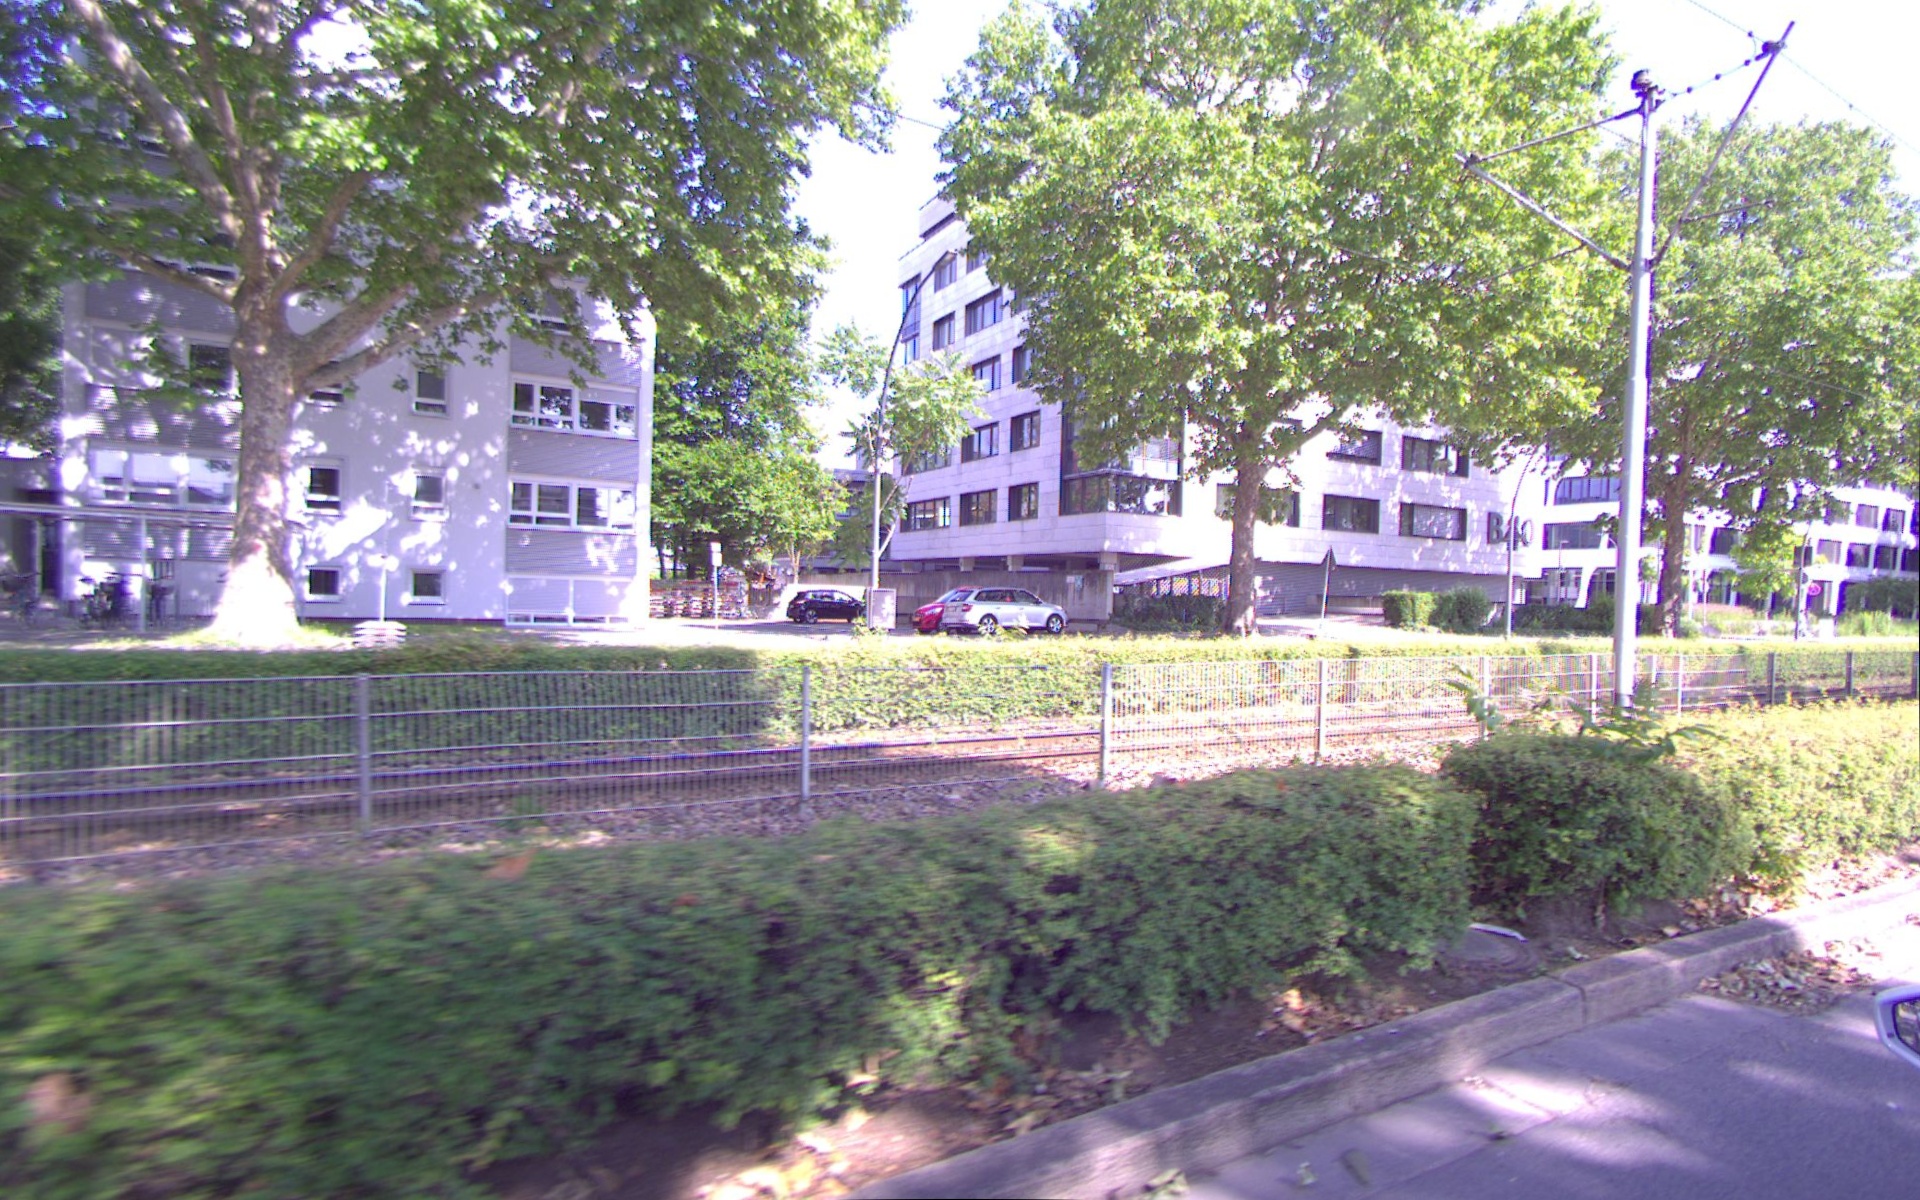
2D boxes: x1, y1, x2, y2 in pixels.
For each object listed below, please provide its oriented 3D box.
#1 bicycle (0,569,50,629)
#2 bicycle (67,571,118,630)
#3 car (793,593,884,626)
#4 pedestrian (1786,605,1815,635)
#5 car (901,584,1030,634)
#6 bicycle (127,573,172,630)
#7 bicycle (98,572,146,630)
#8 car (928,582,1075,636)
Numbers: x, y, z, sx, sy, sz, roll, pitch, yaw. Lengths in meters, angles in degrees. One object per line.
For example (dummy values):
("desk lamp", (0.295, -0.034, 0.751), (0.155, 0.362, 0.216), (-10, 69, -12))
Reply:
("bicycle", (-18.156, -0.034, 19.443), (0.417, 1.118, 1.757), (1, 1, -29))
("bicycle", (-17.229, -0.011, 19.984), (0.417, 1.118, 1.757), (1, 1, -29))
("car", (-5.421, 0.418, 45.048), (3.709, 1.373, 1.636), (1, 1, -30))
("pedestrian", (47.375, 1.111, 56.609), (0.995, 1.609, 0.722), (2, 1, -6))
("car", (0.204, 0.301, 33.381), (3.953, 1.570, 1.734), (1, 1, -30))
("bicycle", (-16.443, 0.009, 20.401), (0.417, 1.118, 1.757), (1, 1, -29))
("bicycle", (-16.819, -0.001, 20.186), (0.417, 1.118, 1.757), (1, 1, -29))
("car", (1.316, 0.285, 31.171), (4.298, 1.570, 1.734), (1, 1, -30))
